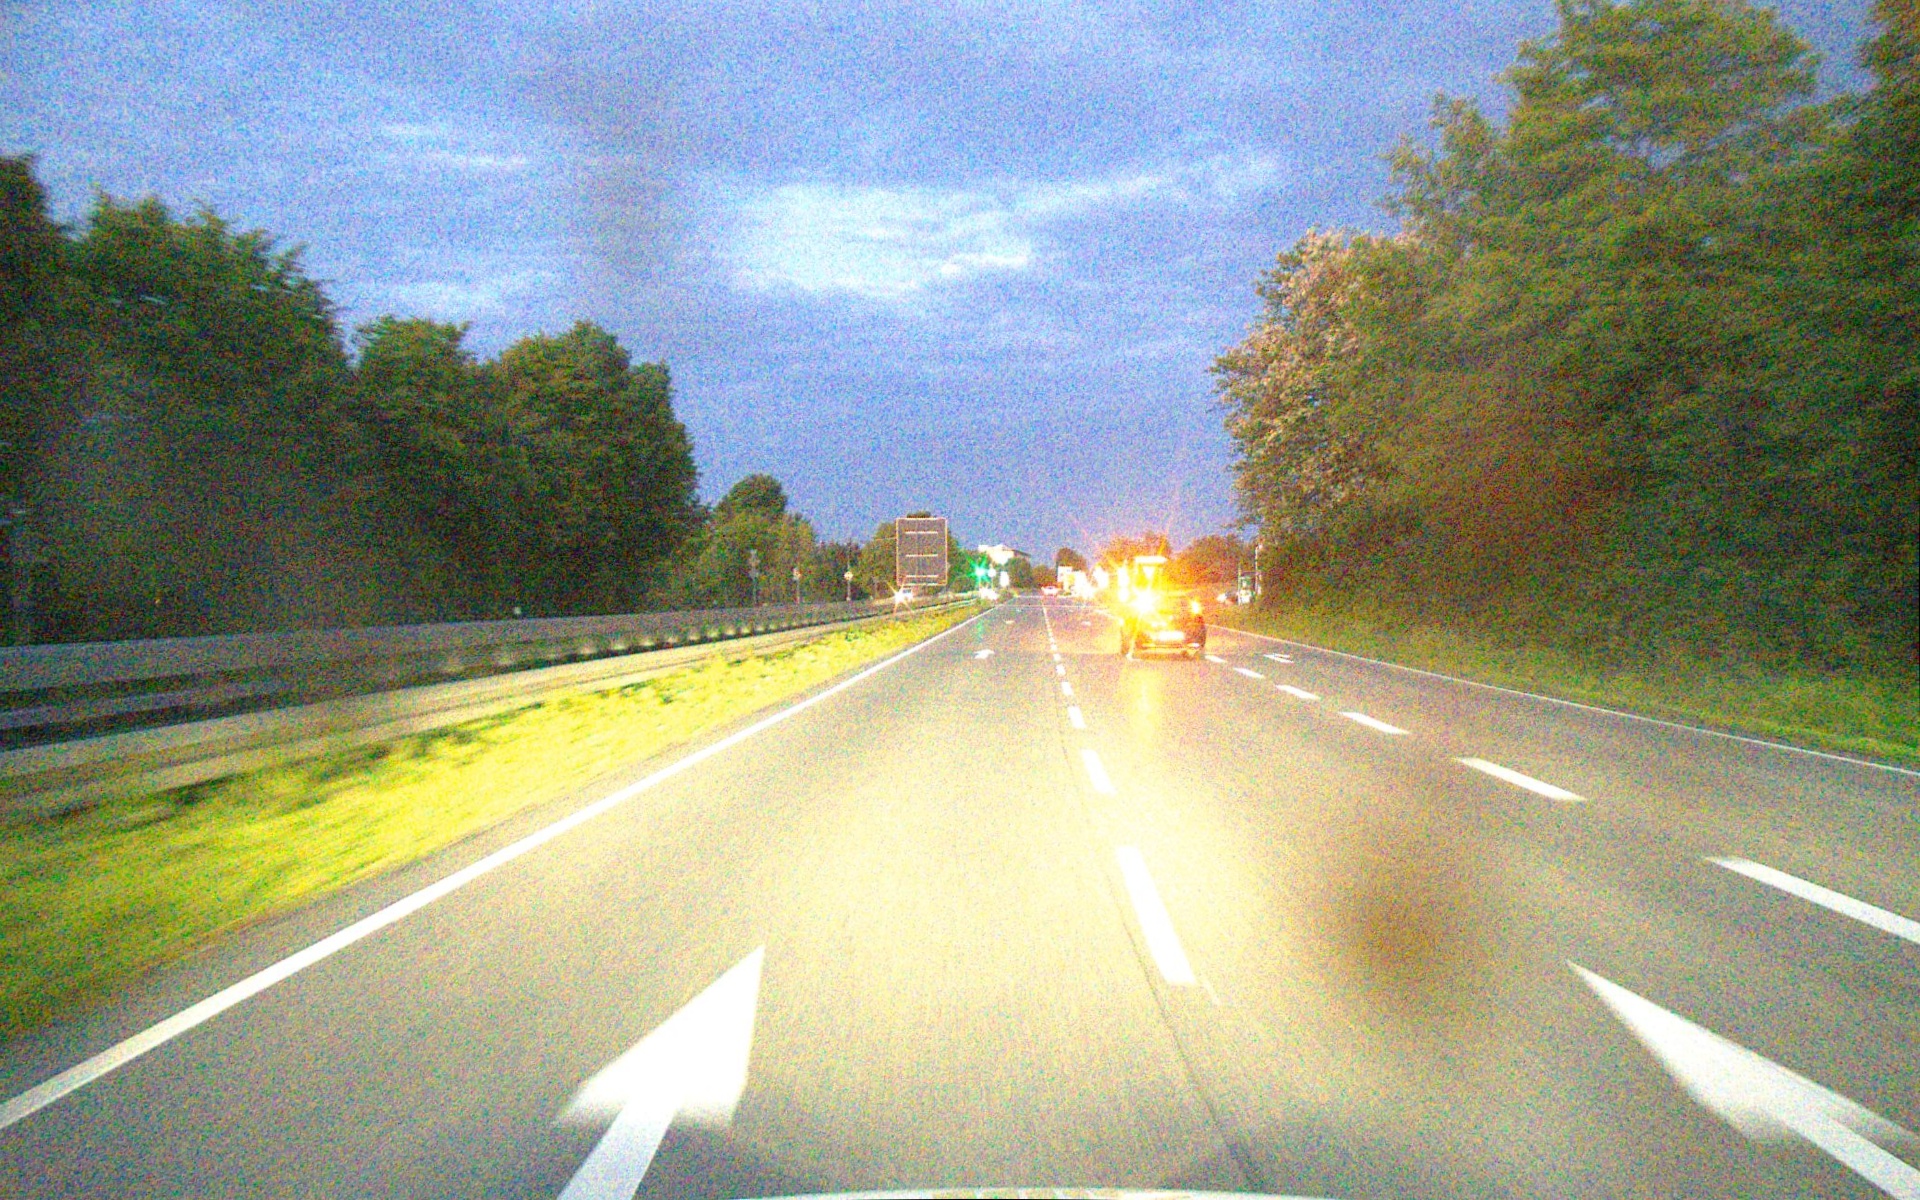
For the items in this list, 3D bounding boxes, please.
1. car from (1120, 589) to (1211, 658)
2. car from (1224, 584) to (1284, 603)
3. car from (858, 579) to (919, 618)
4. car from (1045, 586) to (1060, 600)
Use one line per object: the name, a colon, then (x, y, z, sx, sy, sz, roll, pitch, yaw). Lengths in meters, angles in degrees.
car: (4.667, 0.488, 38.094, 1.716, 1.478, 4.435, 0, 0, 2)
car: (23.638, -0.563, 133.069, 4.619, 1.478, 2.001, 0, 0, 6)
car: (-2.984, -0.051, 69.854, 1.952, 1.478, 4.736, -4, -1, 4)
car: (13.249, -0.990, 236.632, 1.953, 1.780, 4.000, -4, -1, 1)
